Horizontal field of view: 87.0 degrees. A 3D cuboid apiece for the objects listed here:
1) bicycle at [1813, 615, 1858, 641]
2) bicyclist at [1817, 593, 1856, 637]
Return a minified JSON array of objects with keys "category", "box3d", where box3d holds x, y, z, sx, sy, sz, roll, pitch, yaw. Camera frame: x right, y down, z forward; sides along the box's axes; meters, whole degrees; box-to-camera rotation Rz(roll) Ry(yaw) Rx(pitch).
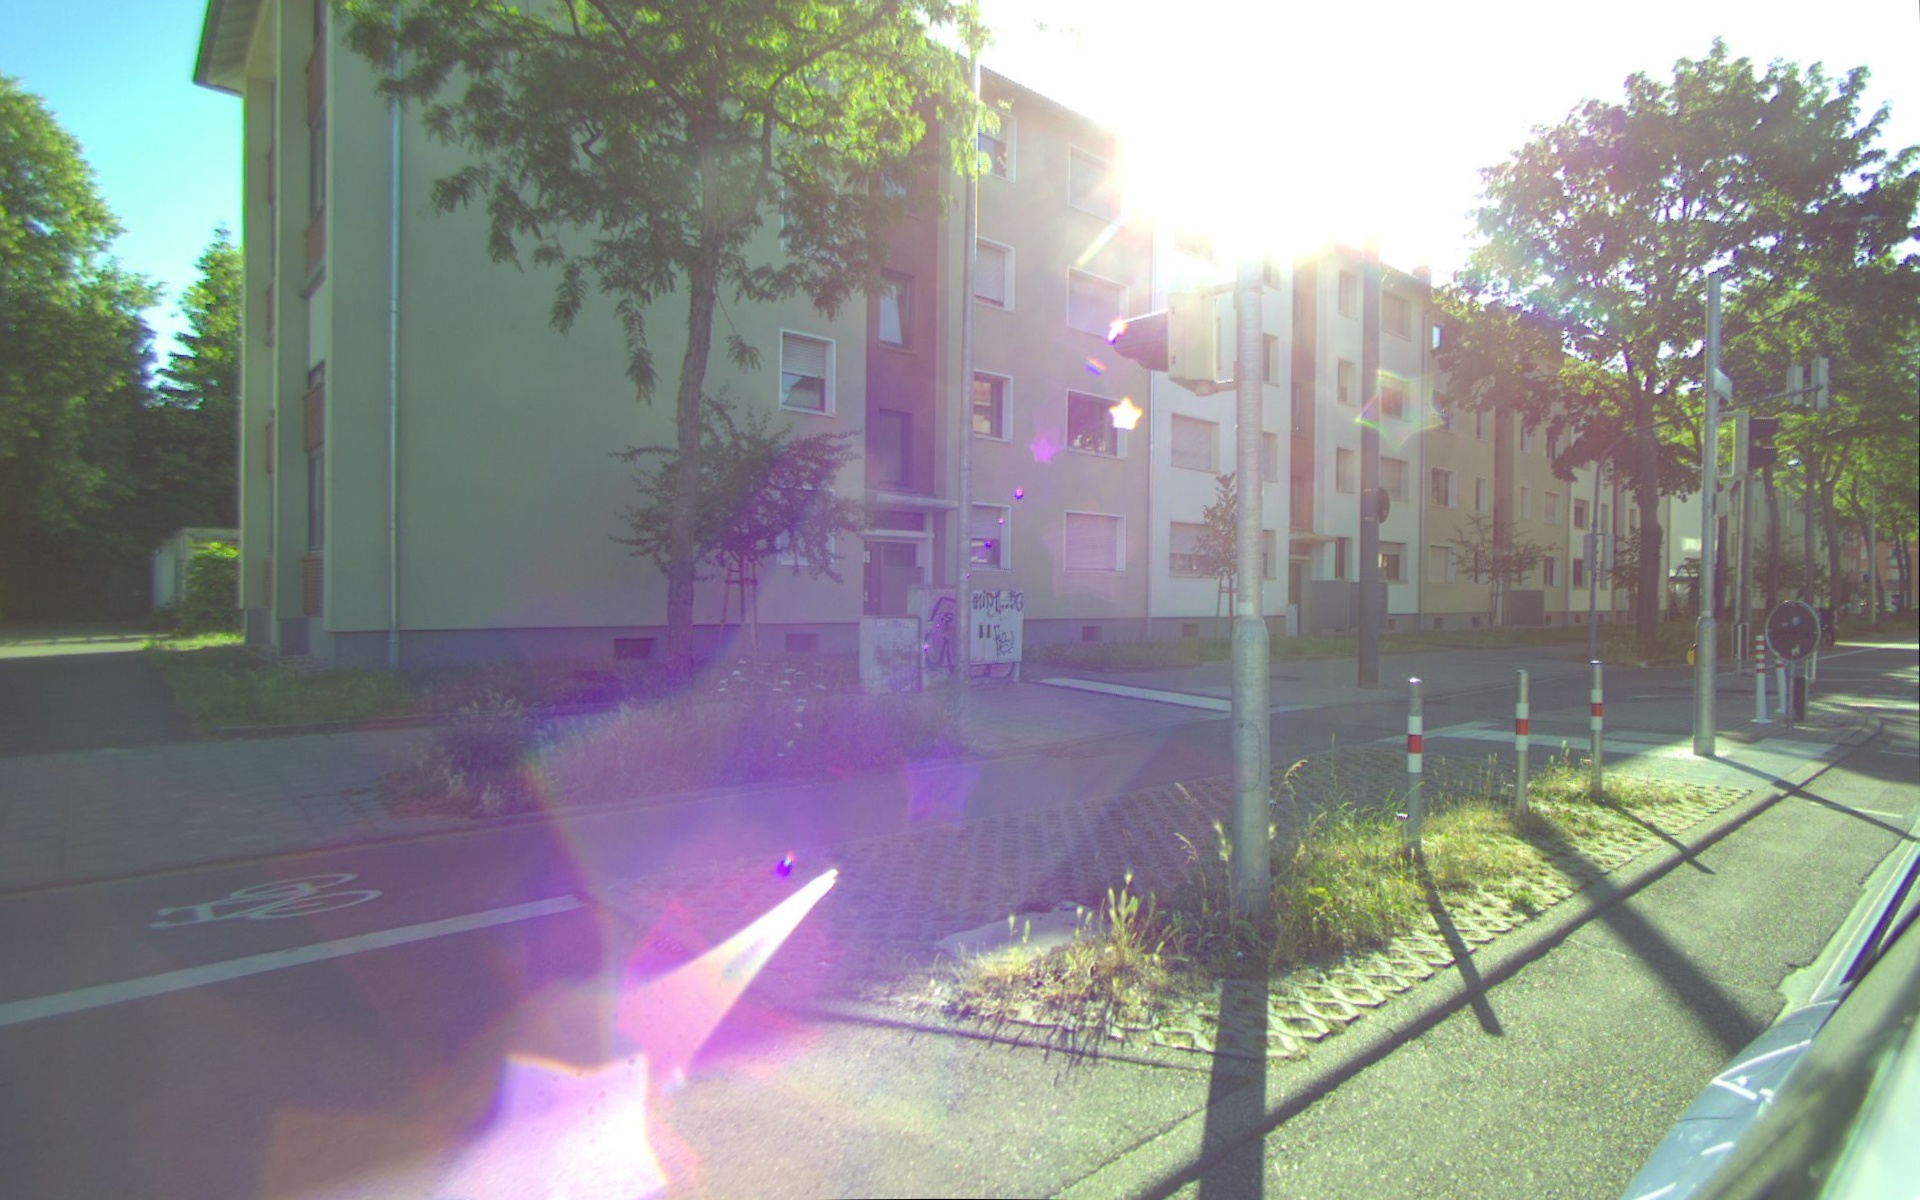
[{"category":"bicycle","box3d":[31.464,0.994,36.356,2.158,0.897,0.827,0,1,-38]},{"category":"bicyclist","box3d":[31.470,0.524,36.350,1.235,1.518,0.819,0,0,-38]}]
